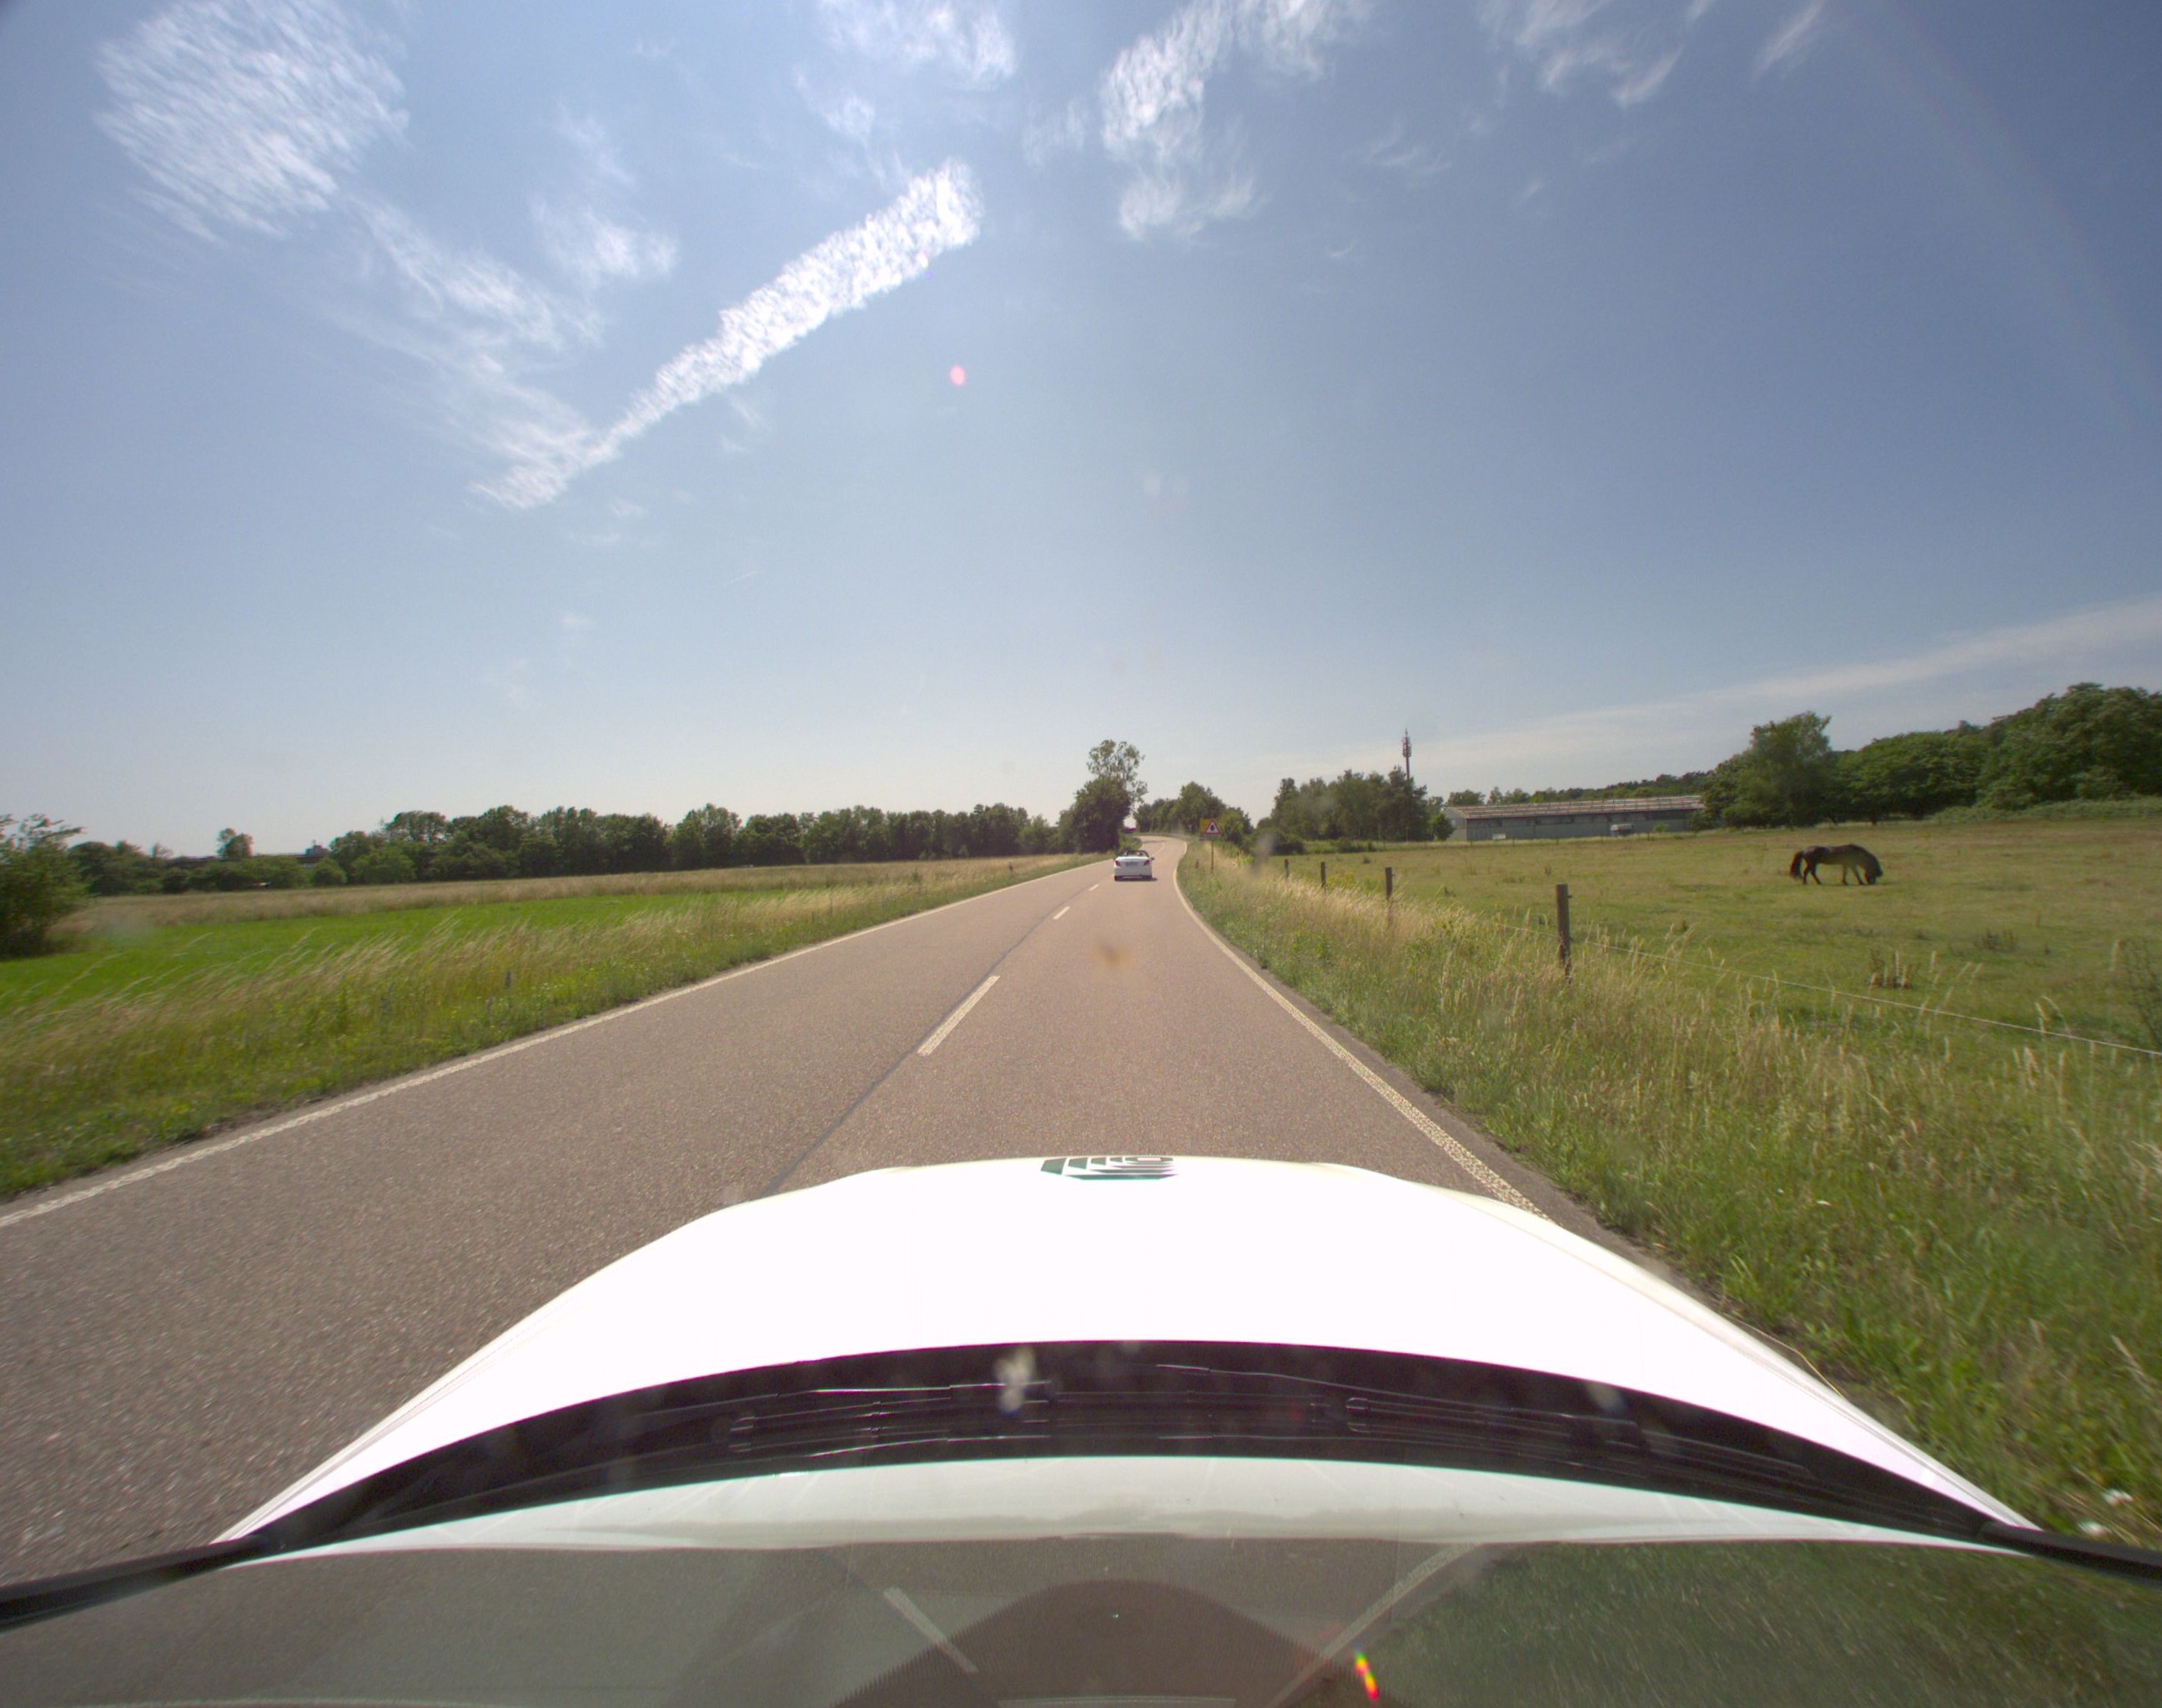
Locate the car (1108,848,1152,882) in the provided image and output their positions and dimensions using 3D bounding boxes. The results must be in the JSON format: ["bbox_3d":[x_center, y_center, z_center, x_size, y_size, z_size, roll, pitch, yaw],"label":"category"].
[{"bbox_3d":[2.384,0.481,38.590,1.841,1.379,4.008,-1,1,6],"label":"car"}]
